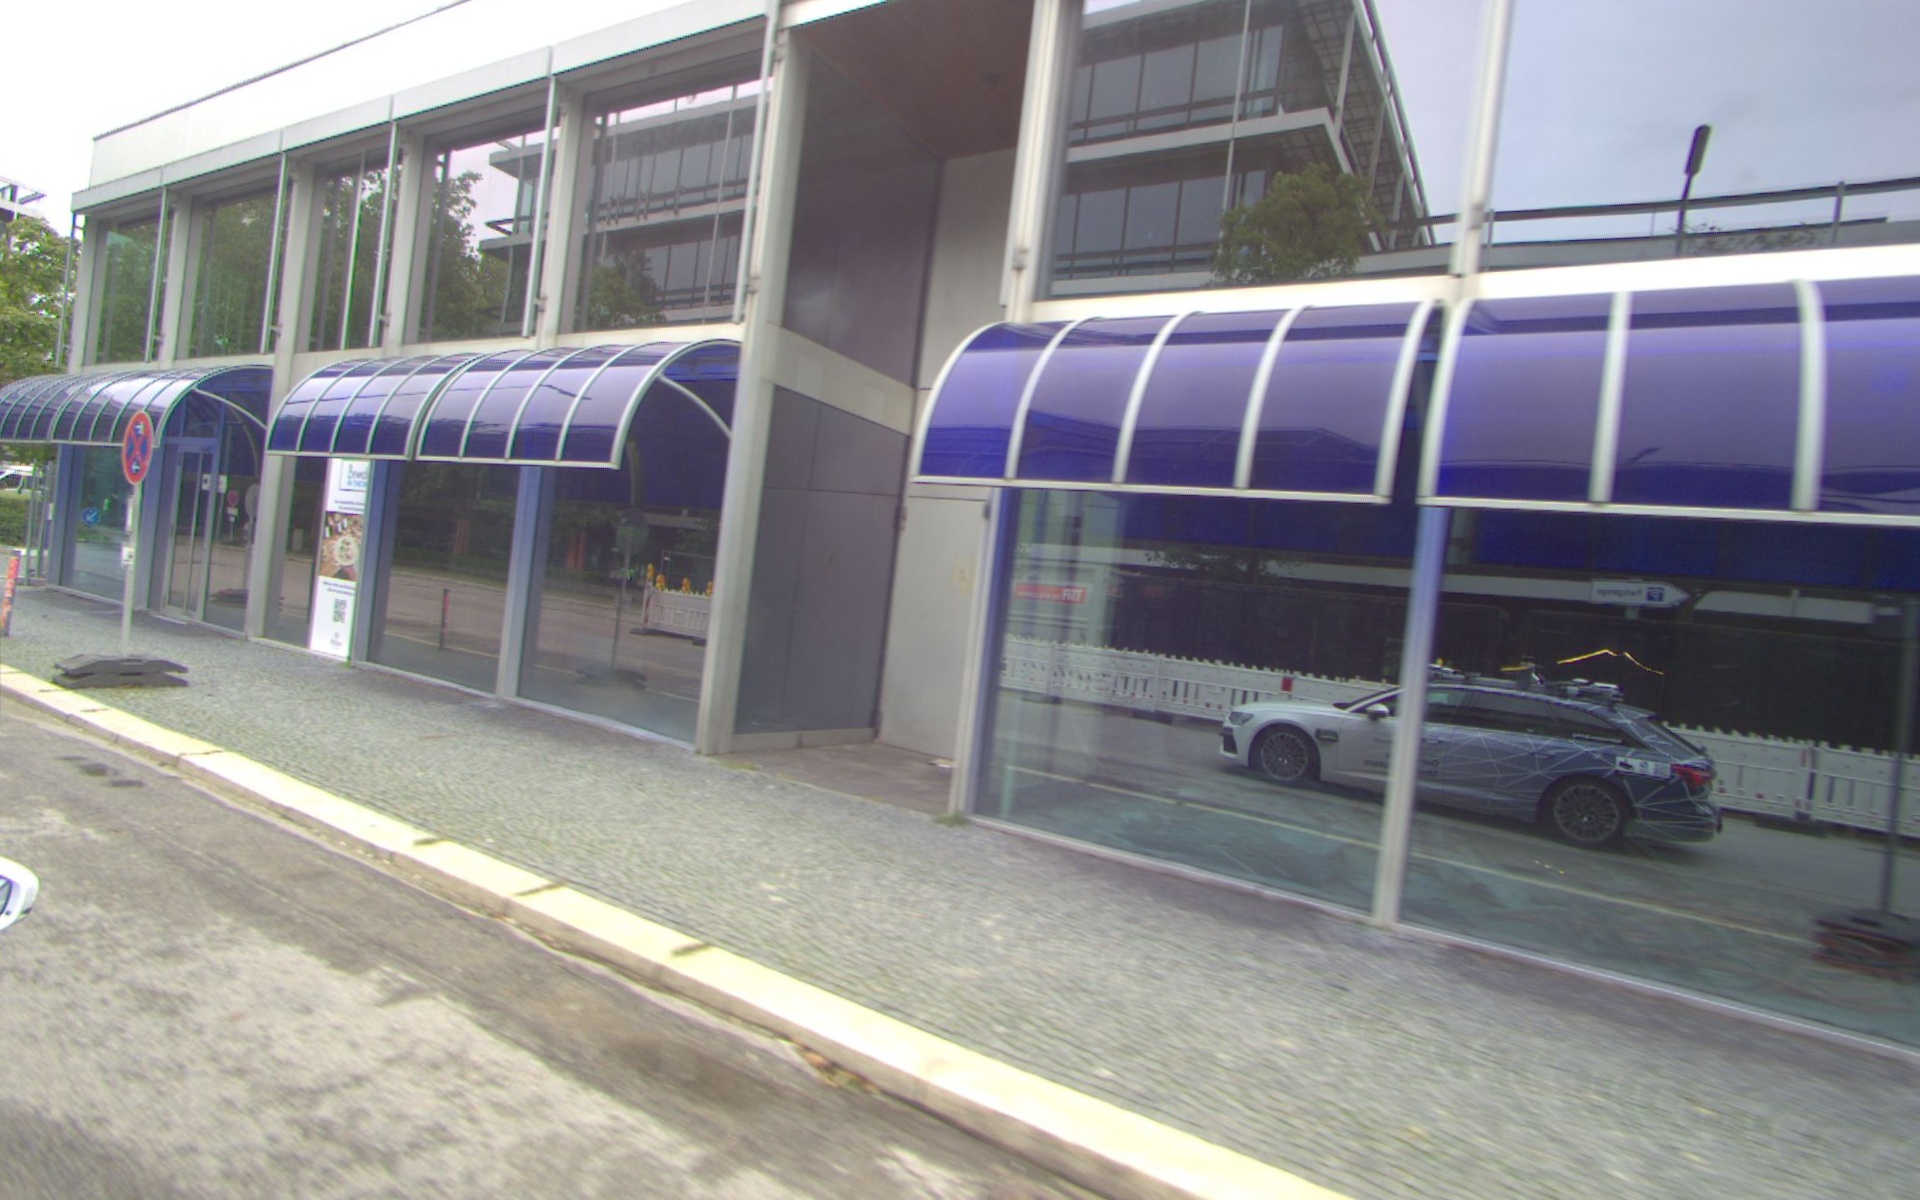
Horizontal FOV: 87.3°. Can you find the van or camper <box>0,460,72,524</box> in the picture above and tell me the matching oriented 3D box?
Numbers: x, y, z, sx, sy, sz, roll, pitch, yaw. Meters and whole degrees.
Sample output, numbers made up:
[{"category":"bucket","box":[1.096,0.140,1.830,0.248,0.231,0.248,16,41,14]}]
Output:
[{"category":"van or camper","box":[-45.617,-5.299,47.863,2.069,2.617,4.464,7,0,21]}]
